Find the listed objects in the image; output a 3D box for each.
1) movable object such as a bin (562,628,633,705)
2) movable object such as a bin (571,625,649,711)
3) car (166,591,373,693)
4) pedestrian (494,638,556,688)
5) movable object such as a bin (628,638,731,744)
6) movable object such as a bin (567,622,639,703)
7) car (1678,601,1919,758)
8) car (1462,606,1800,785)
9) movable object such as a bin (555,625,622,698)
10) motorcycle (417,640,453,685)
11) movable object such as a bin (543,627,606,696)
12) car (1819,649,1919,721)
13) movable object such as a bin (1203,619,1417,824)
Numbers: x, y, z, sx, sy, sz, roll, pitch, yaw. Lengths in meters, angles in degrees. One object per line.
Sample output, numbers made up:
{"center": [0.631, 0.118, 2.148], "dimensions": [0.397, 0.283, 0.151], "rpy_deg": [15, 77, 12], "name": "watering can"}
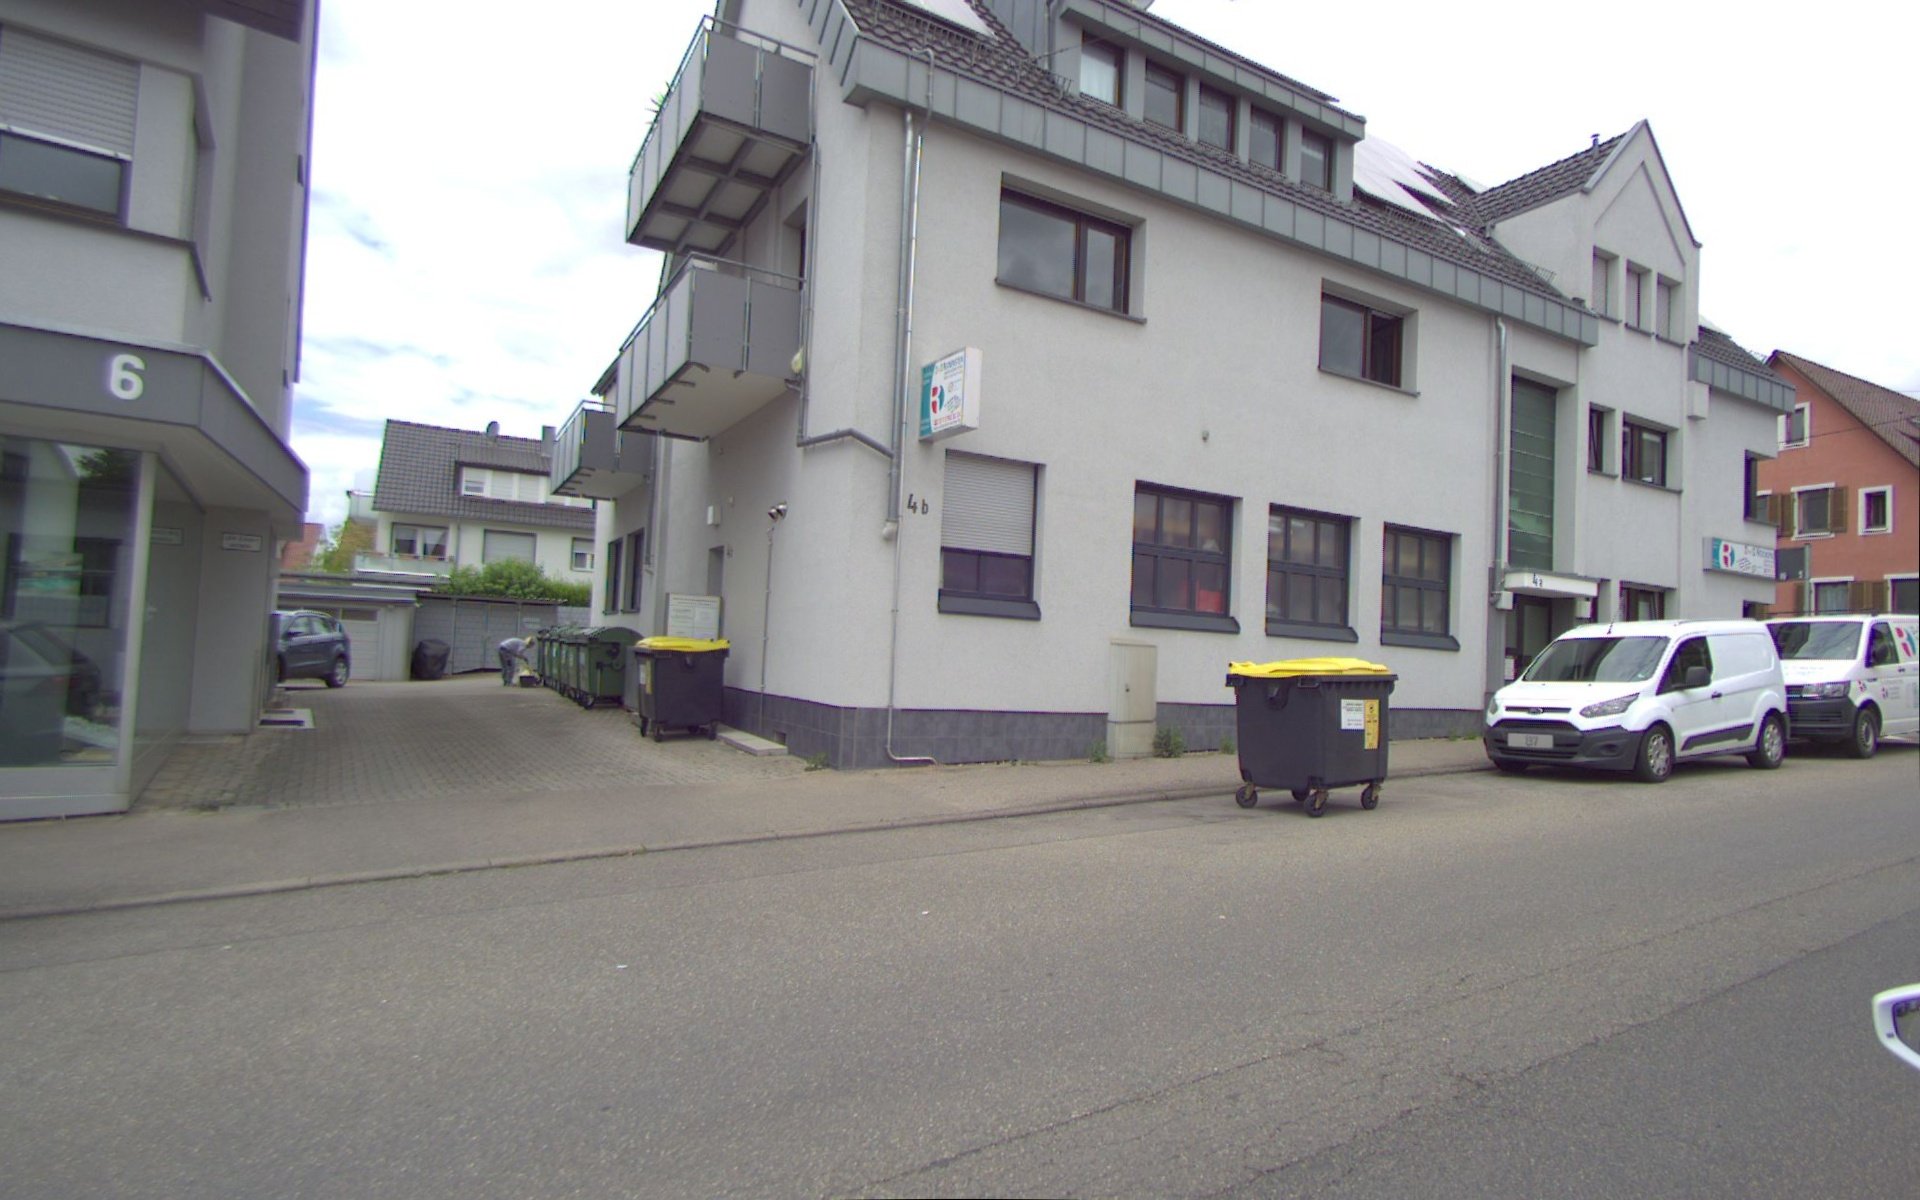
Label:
{"center": [-7.390, 1.333, 20.443], "dimensions": [1.239, 1.482, 0.939], "rpy_deg": [2, 0, -25], "name": "movable object such as a bin"}
{"center": [-6.363, 1.219, 18.251], "dimensions": [1.201, 1.477, 1.112], "rpy_deg": [2, 0, -25], "name": "movable object such as a bin"}
{"center": [-14.670, 0.927, 21.655], "dimensions": [1.949, 1.995, 3.958], "rpy_deg": [0, -3, -6], "name": "car"}
{"center": [-10.516, 1.526, 24.288], "dimensions": [1.288, 1.126, 1.016], "rpy_deg": [2, 0, -28], "name": "pedestrian"}
{"center": [-3.730, 1.186, 13.348], "dimensions": [1.135, 1.317, 0.777], "rpy_deg": [2, 0, -30], "name": "movable object such as a bin"}
{"center": [-6.921, 1.203, 19.434], "dimensions": [1.191, 1.482, 0.926], "rpy_deg": [2, 0, -25], "name": "movable object such as a bin"}
{"center": [12.957, 1.140, 14.904], "dimensions": [4.703, 2.031, 1.805], "rpy_deg": [2, -4, -28], "name": "car"}
{"center": [8.241, 1.100, 12.269], "dimensions": [4.248, 1.855, 1.725], "rpy_deg": [2, -4, -31], "name": "car"}
{"center": [-8.010, 1.318, 21.645], "dimensions": [1.239, 1.482, 1.029], "rpy_deg": [2, 0, -25], "name": "movable object such as a bin"}
{"center": [-15.268, 1.801, 29.192], "dimensions": [0.880, 1.179, 1.648], "rpy_deg": [2, 0, -29], "name": "motorcycle"}
{"center": [-8.824, 1.393, 22.972], "dimensions": [1.239, 1.482, 1.037], "rpy_deg": [2, 0, -25], "name": "movable object such as a bin"}
{"center": [20.665, 1.720, 20.345], "dimensions": [1.974, 1.464, 4.540], "rpy_deg": [2, -4, -26], "name": "car"}
{"center": [3.149, 1.028, 9.044], "dimensions": [1.548, 1.654, 1.132], "rpy_deg": [2, -3, -36], "name": "movable object such as a bin"}
